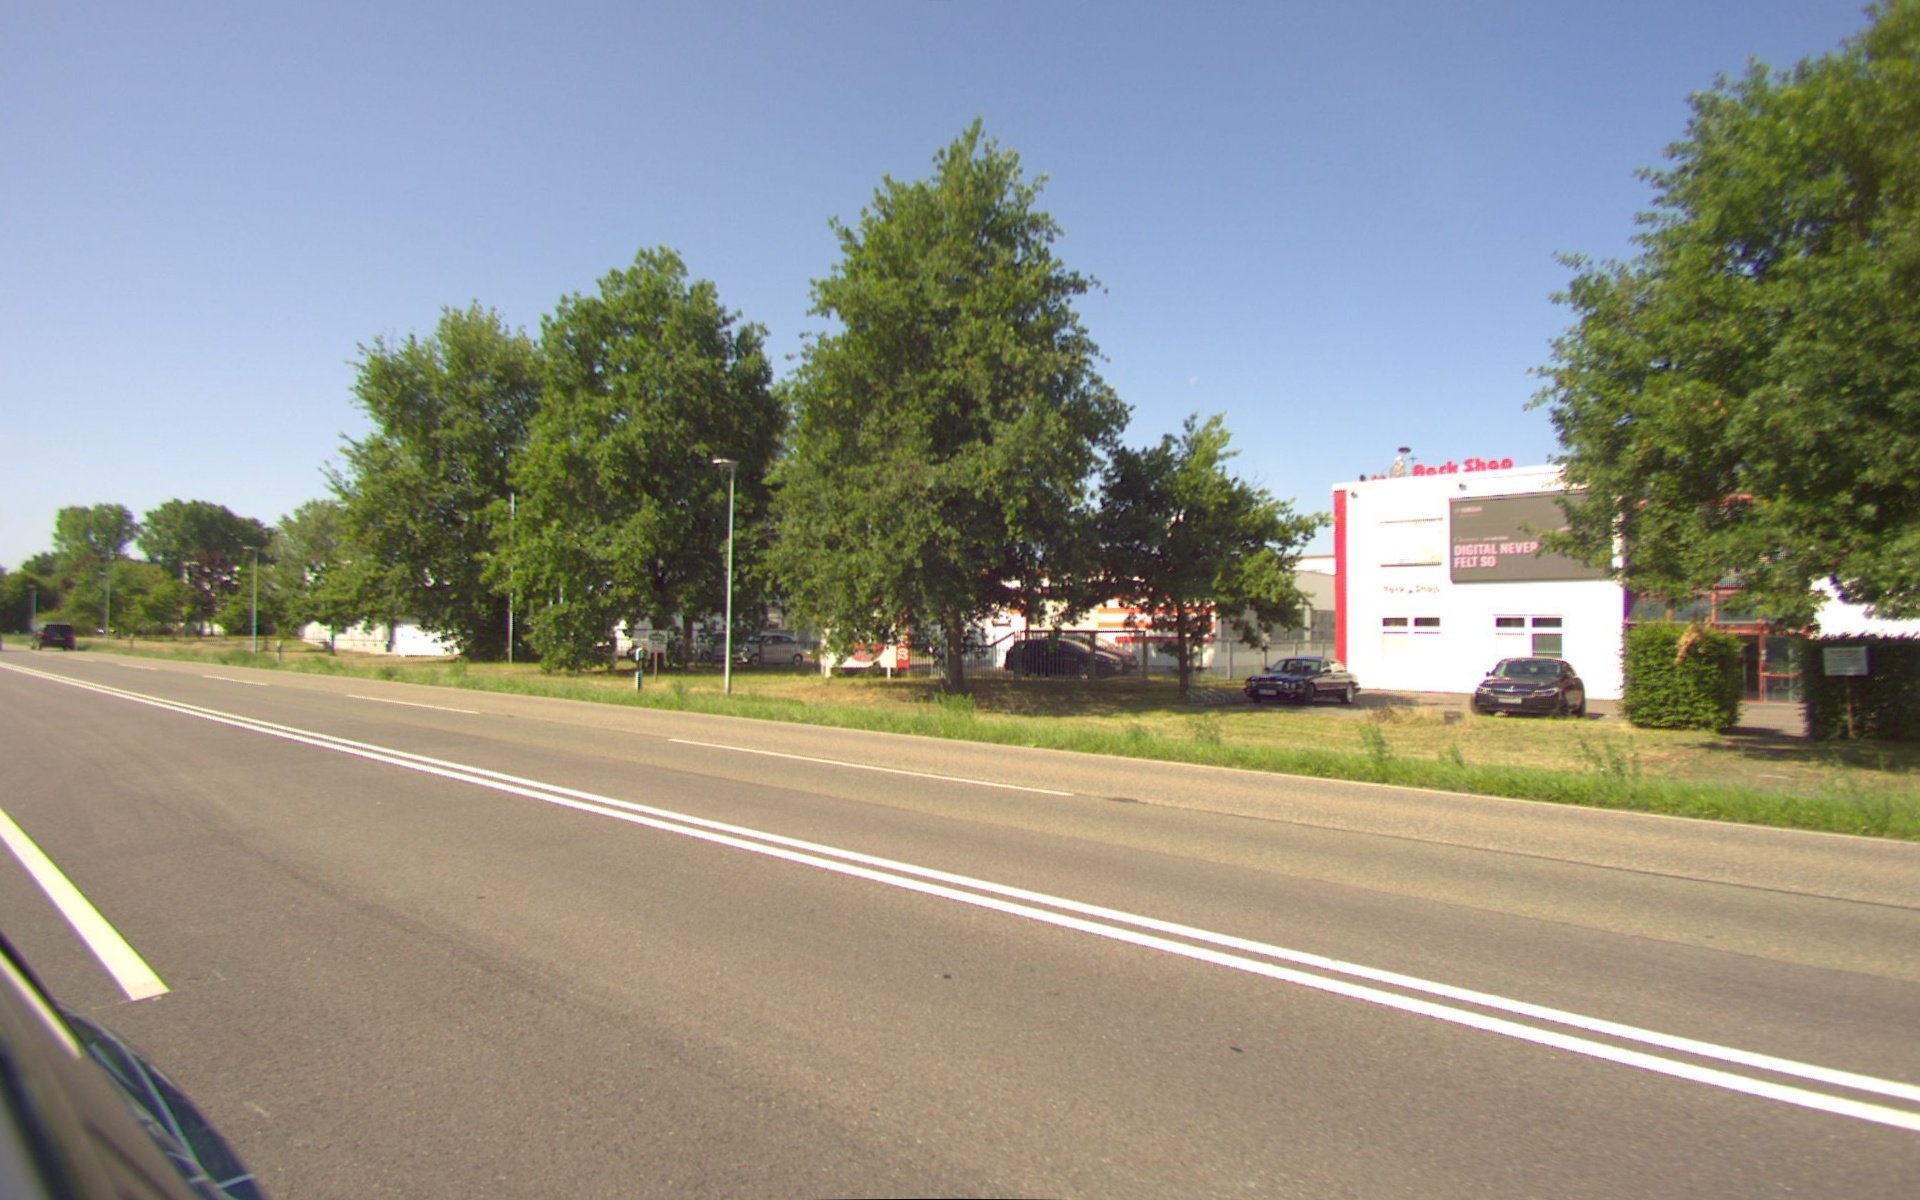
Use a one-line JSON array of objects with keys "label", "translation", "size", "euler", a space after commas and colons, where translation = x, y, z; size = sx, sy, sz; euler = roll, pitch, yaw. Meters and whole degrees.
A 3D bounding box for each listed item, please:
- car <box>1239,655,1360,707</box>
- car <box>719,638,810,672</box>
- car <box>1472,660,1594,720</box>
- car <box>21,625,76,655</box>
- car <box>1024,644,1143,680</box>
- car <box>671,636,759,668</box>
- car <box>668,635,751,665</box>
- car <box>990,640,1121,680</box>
[{"label": "car", "translation": [9.933, 2.376, 29.419], "size": [1.856, 1.335, 4.305], "euler": [0, -5, 41]}, {"label": "car", "translation": [-9.136, 2.561, 47.489], "size": [1.757, 1.512, 3.945], "euler": [-1, -3, 41]}, {"label": "car", "translation": [14.347, 2.208, 25.262], "size": [1.862, 1.316, 3.944], "euler": [-2, -4, 42]}, {"label": "car", "translation": [-54.826, 2.413, 60.836], "size": [4.386, 1.684, 1.807], "euler": [-1, -4, 40]}, {"label": "car", "translation": [5.015, 2.506, 41.527], "size": [4.658, 1.360, 1.769], "euler": [-1, -3, 39]}, {"label": "car", "translation": [-12.142, 2.541, 50.270], "size": [1.757, 1.512, 3.945], "euler": [-1, -3, 41]}, {"label": "car", "translation": [-13.204, 2.632, 53.511], "size": [3.942, 1.512, 1.741], "euler": [0, -2, -2]}, {"label": "car", "translation": [3.510, 2.215, 37.667], "size": [4.658, 1.360, 1.769], "euler": [-1, -3, 39]}]
